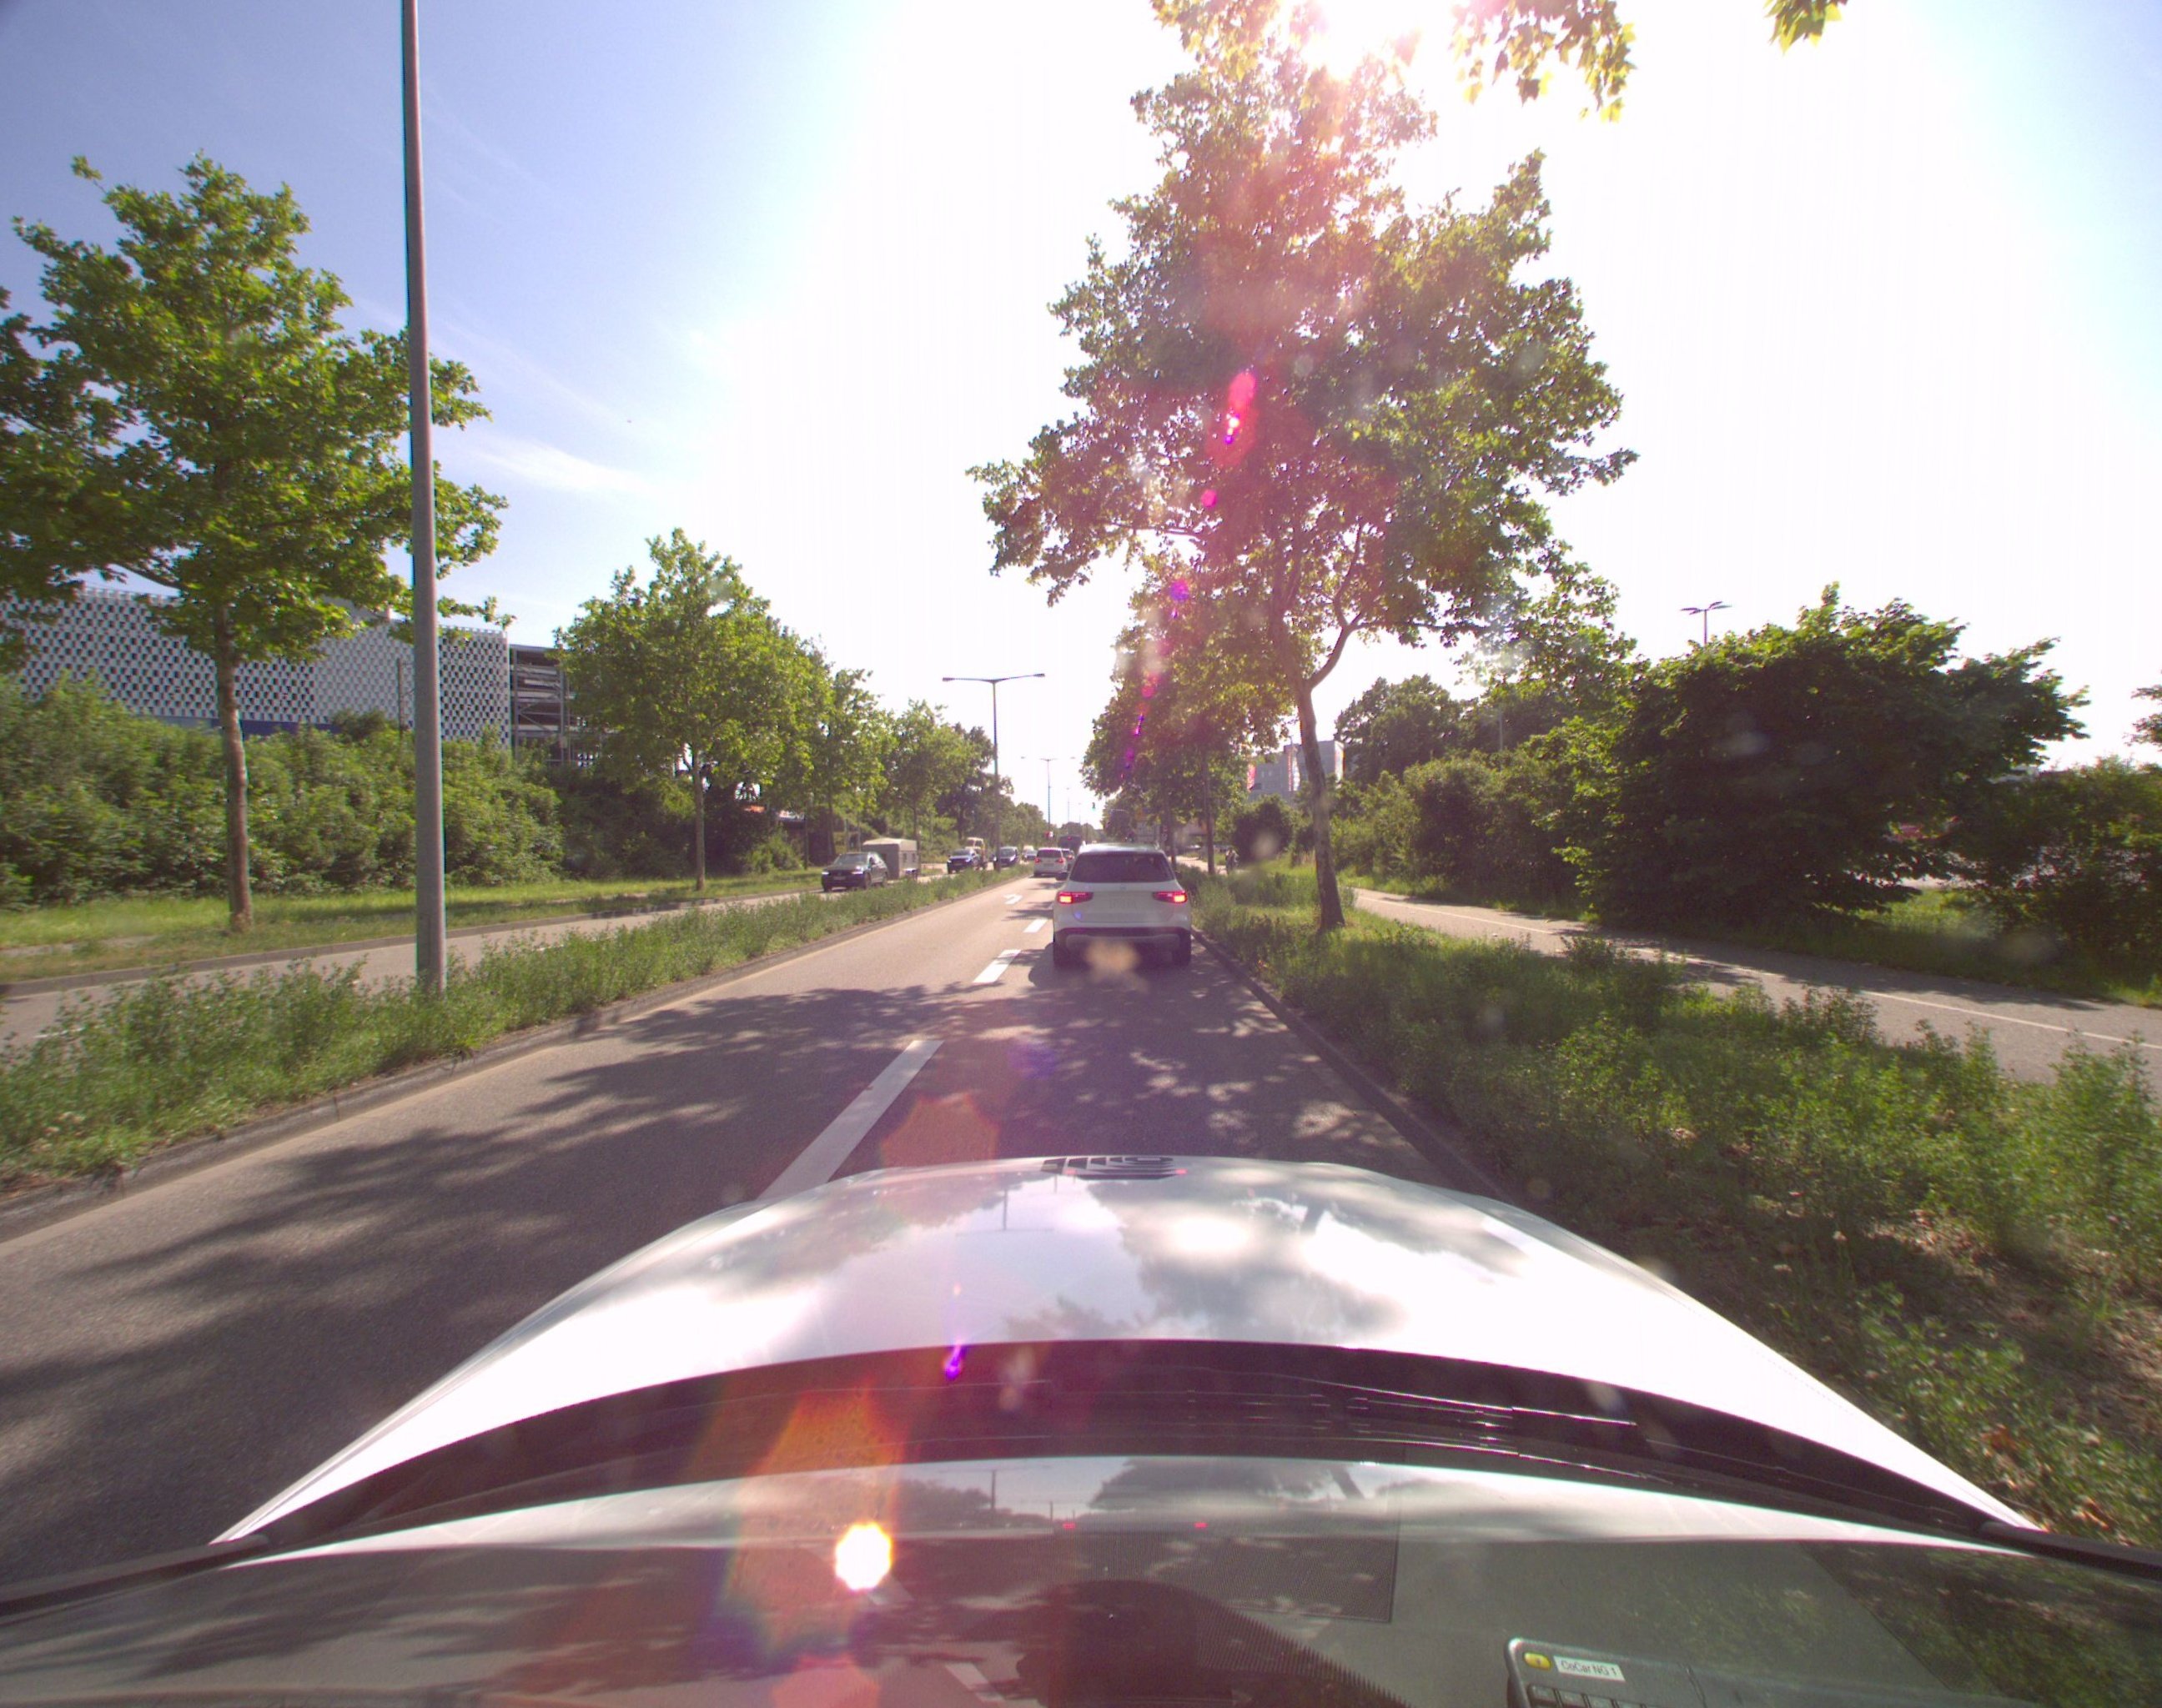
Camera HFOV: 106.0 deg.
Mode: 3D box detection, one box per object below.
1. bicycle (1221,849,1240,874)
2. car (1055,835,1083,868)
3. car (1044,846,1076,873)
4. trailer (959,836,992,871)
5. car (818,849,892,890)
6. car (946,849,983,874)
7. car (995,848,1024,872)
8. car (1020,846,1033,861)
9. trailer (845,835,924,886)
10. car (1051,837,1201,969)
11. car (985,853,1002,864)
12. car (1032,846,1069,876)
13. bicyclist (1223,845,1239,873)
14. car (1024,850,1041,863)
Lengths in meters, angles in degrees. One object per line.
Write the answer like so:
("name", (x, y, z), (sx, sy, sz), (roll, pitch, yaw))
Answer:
("bicycle", (7.966, 0.411, 43.430), (0.720, 1.299, 2.097), (0, 0, 2))
("car", (-0.978, -0.209, 68.755), (2.073, 2.656, 4.877), (0, 0, 2))
("car", (-1.322, 0.335, 52.704), (1.764, 1.647, 4.087), (0, 0, 2))
("trailer", (-8.552, -0.064, 66.374), (1.872, 2.744, 4.831), (1, 0, 2))
("car", (-9.553, 0.624, 34.772), (1.708, 1.622, 4.363), (-1, 0, 2))
("car", (-8.759, 0.541, 61.441), (1.757, 1.789, 5.379), (1, 0, 2))
("car", (-5.597, 0.482, 64.275), (1.724, 1.809, 4.235), (1, 0, 2))
("car", (-9.173, -0.107, 136.831), (1.990, 2.418, 5.132), (0, 0, -4))
("trailer", (-9.464, 0.296, 39.756), (2.300, 2.265, 5.541), (-1, 0, 2))
("car", (0.499, 0.594, 12.019), (1.849, 1.607, 3.997), (0, 0, -2))
("car", (-11.113, 0.552, 103.968), (1.695, 1.365, 3.646), (0, 0, 1))
("car", (-1.675, 0.372, 46.586), (1.764, 1.647, 4.355), (0, 0, 2))
("bicyclist", (7.983, 0.242, 43.425), (0.701, 1.477, 1.010), (0, 0, 2))
("car", (-5.900, 0.295, 98.989), (1.596, 1.472, 3.792), (0, 0, 2))
